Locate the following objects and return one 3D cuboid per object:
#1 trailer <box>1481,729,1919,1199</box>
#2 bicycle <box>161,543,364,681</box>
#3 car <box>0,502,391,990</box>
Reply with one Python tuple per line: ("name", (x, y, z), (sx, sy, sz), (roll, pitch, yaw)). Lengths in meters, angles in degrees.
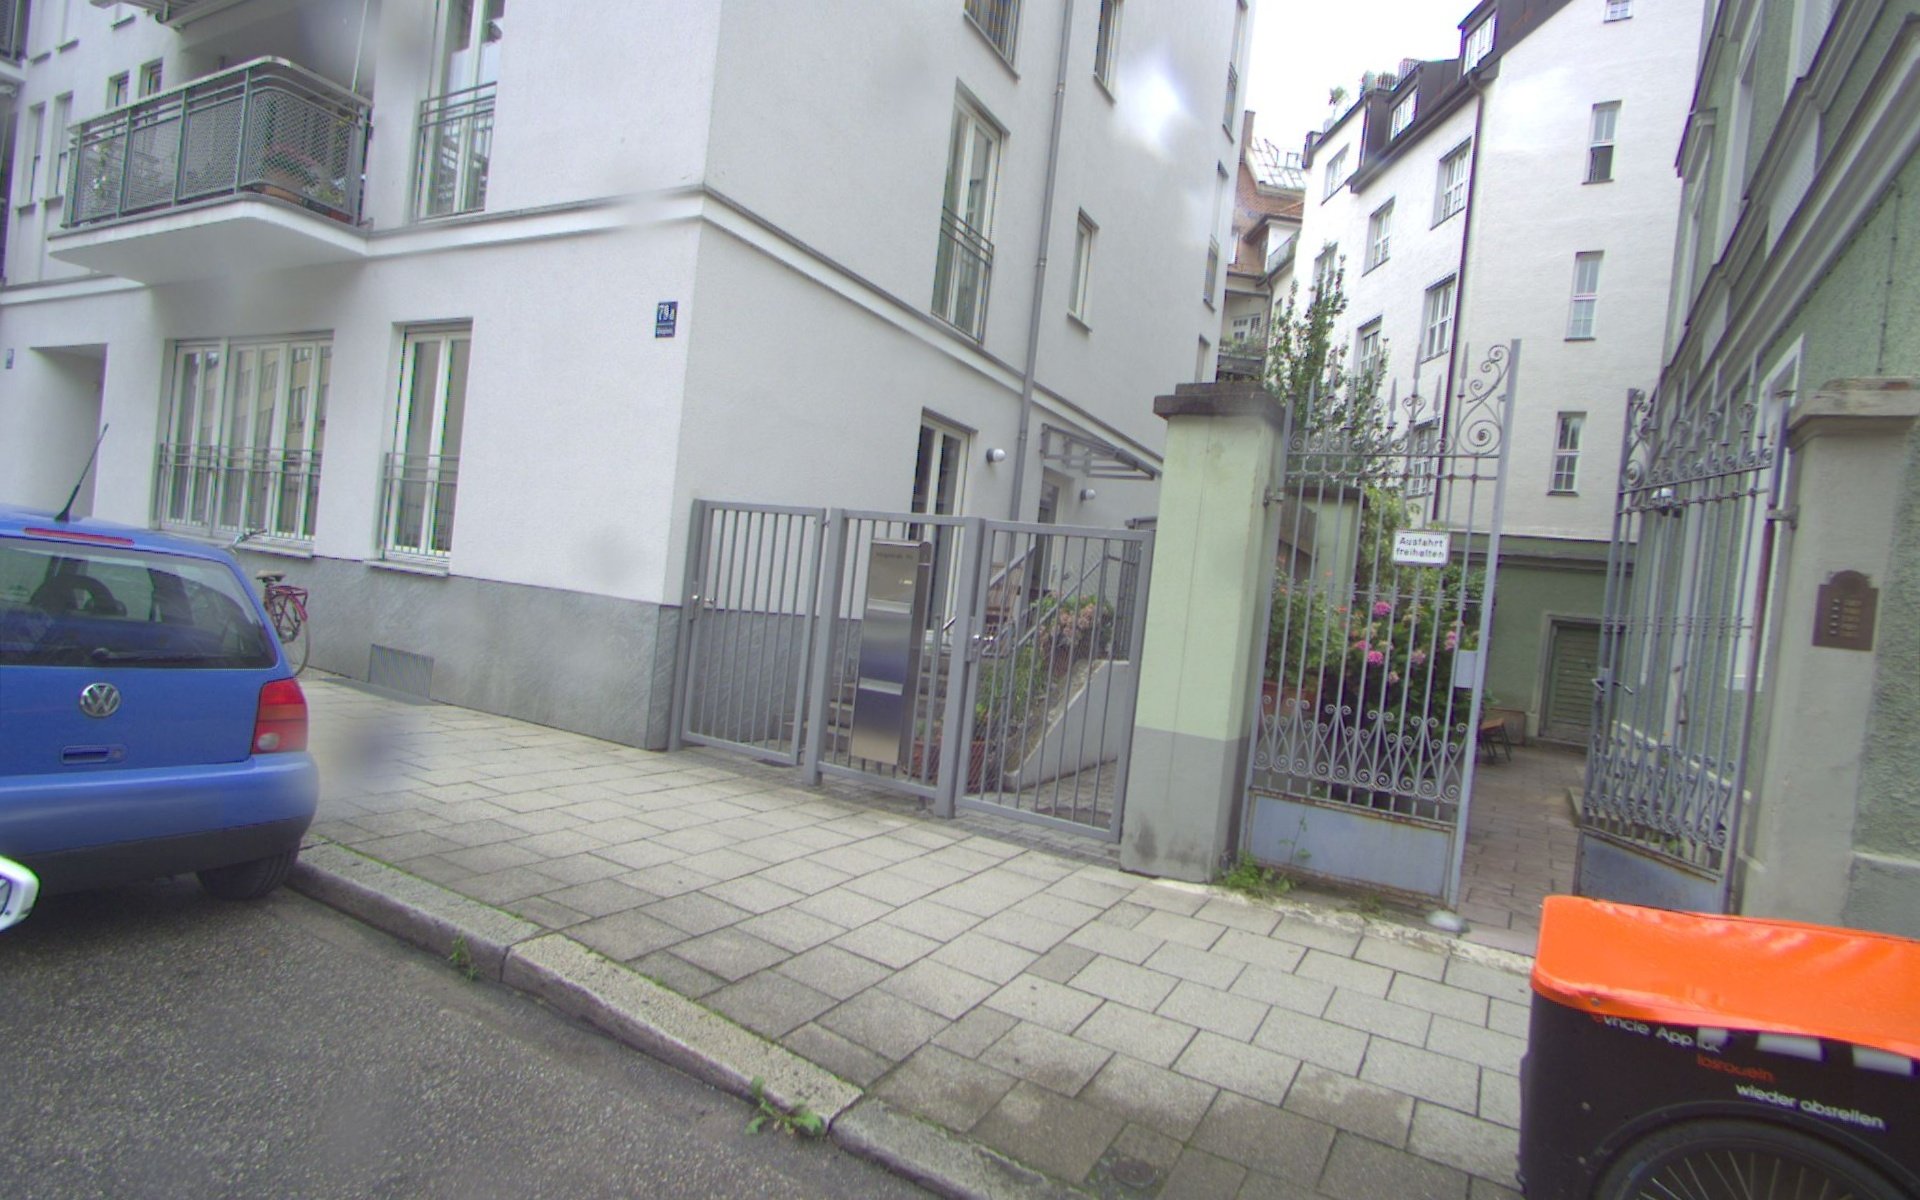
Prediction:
("trailer", (2.336, 1.074, 2.024), (2.130, 1.200, 0.941), (7, 4, 35))
("bicycle", (-6.189, 0.093, 8.904), (1.803, 1.041, 0.678), (5, 0, 28))
("car", (-4.201, 0.300, 3.985), (3.491, 1.428, 1.623), (6, -2, 27))
